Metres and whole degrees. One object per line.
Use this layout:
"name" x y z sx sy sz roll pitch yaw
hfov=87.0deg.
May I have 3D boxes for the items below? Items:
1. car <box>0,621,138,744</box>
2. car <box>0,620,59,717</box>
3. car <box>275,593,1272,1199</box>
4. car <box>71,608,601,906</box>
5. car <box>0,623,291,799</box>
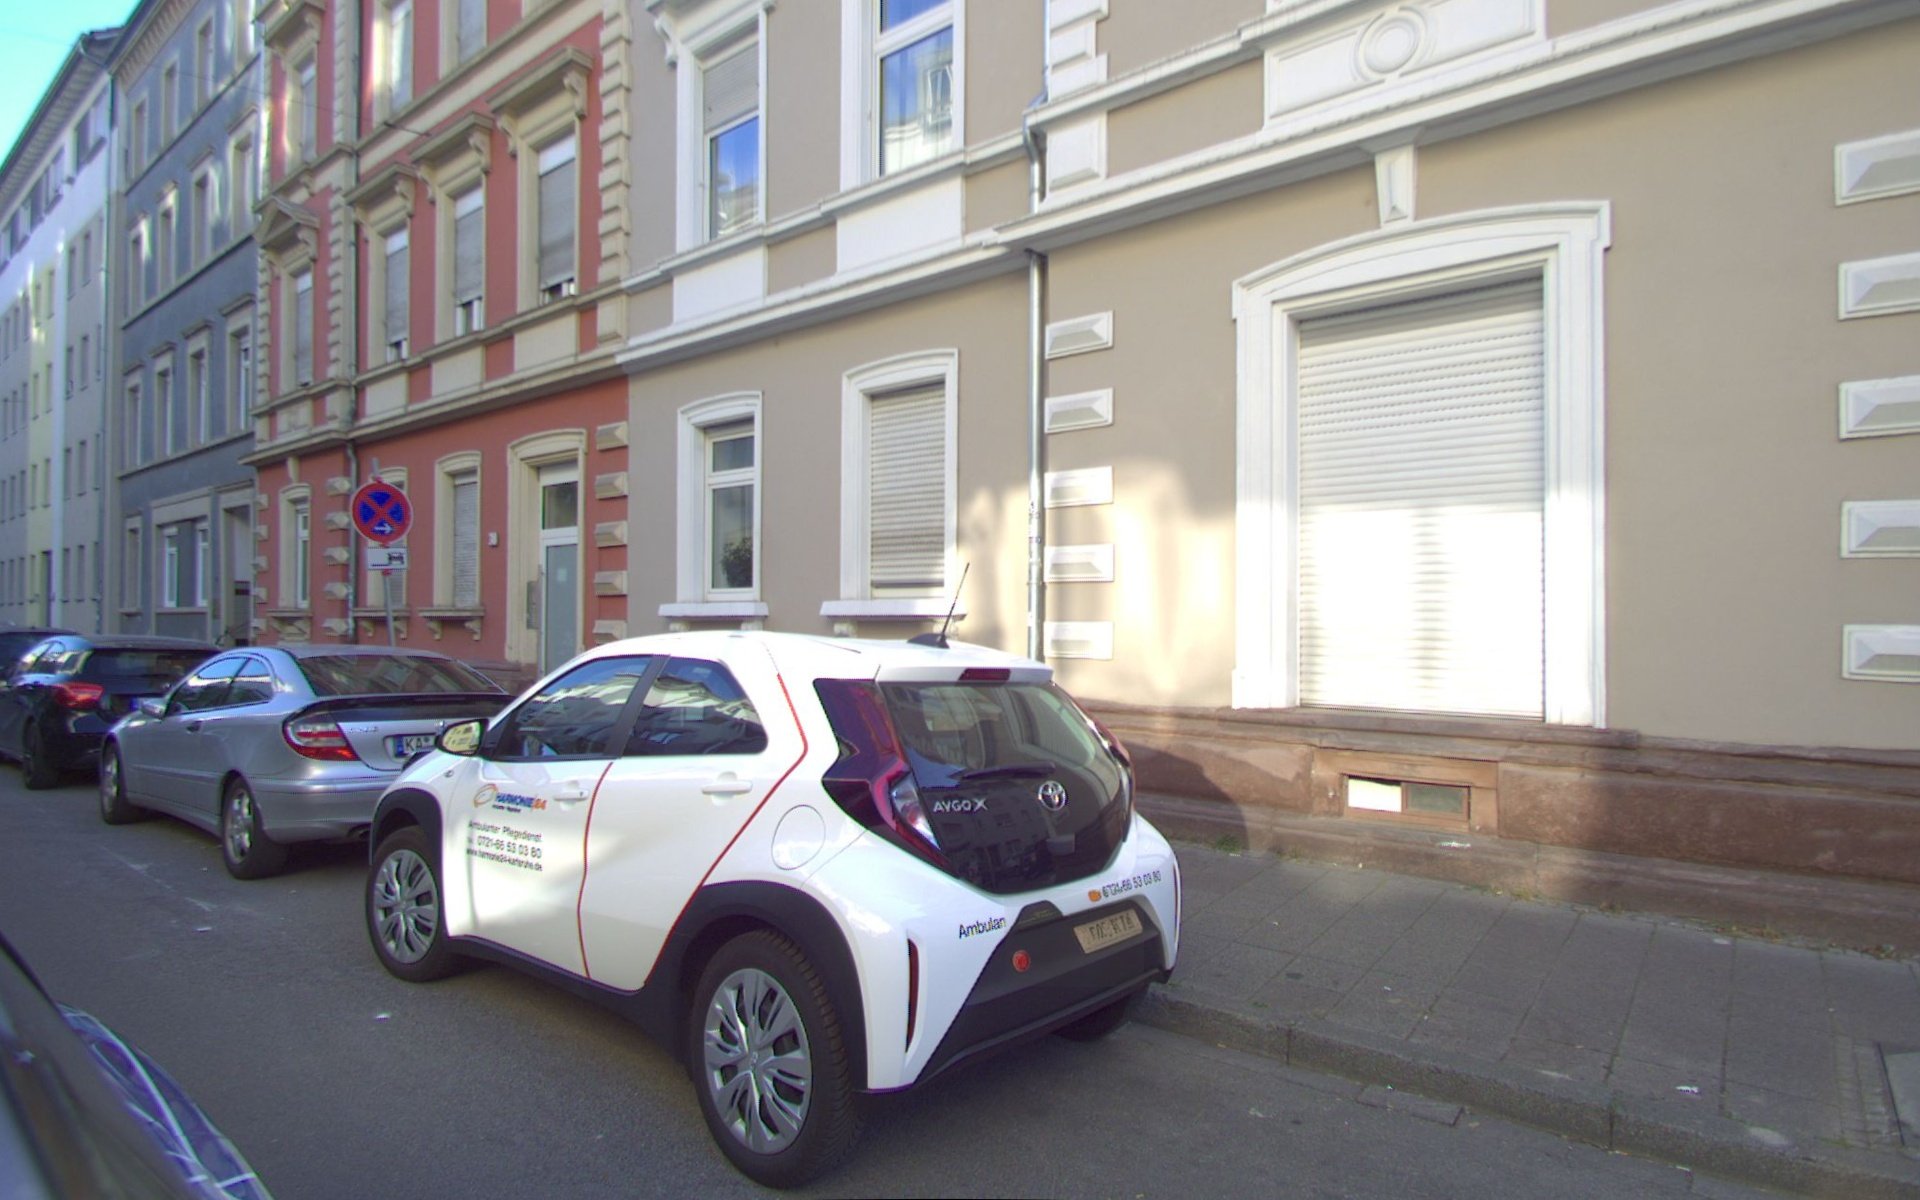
"car" -13.631 1.119 14.521 4.234 1.572 1.883 -2 -4 38
"car" -17.405 1.146 17.512 4.260 1.572 1.902 -2 -4 38
"car" -1.096 0.848 4.328 4.263 1.519 1.901 -2 -4 40
"car" -4.732 0.930 7.458 4.260 1.572 1.902 -2 -4 38
"car" -9.019 1.045 10.733 4.260 1.495 1.902 -2 -4 38
